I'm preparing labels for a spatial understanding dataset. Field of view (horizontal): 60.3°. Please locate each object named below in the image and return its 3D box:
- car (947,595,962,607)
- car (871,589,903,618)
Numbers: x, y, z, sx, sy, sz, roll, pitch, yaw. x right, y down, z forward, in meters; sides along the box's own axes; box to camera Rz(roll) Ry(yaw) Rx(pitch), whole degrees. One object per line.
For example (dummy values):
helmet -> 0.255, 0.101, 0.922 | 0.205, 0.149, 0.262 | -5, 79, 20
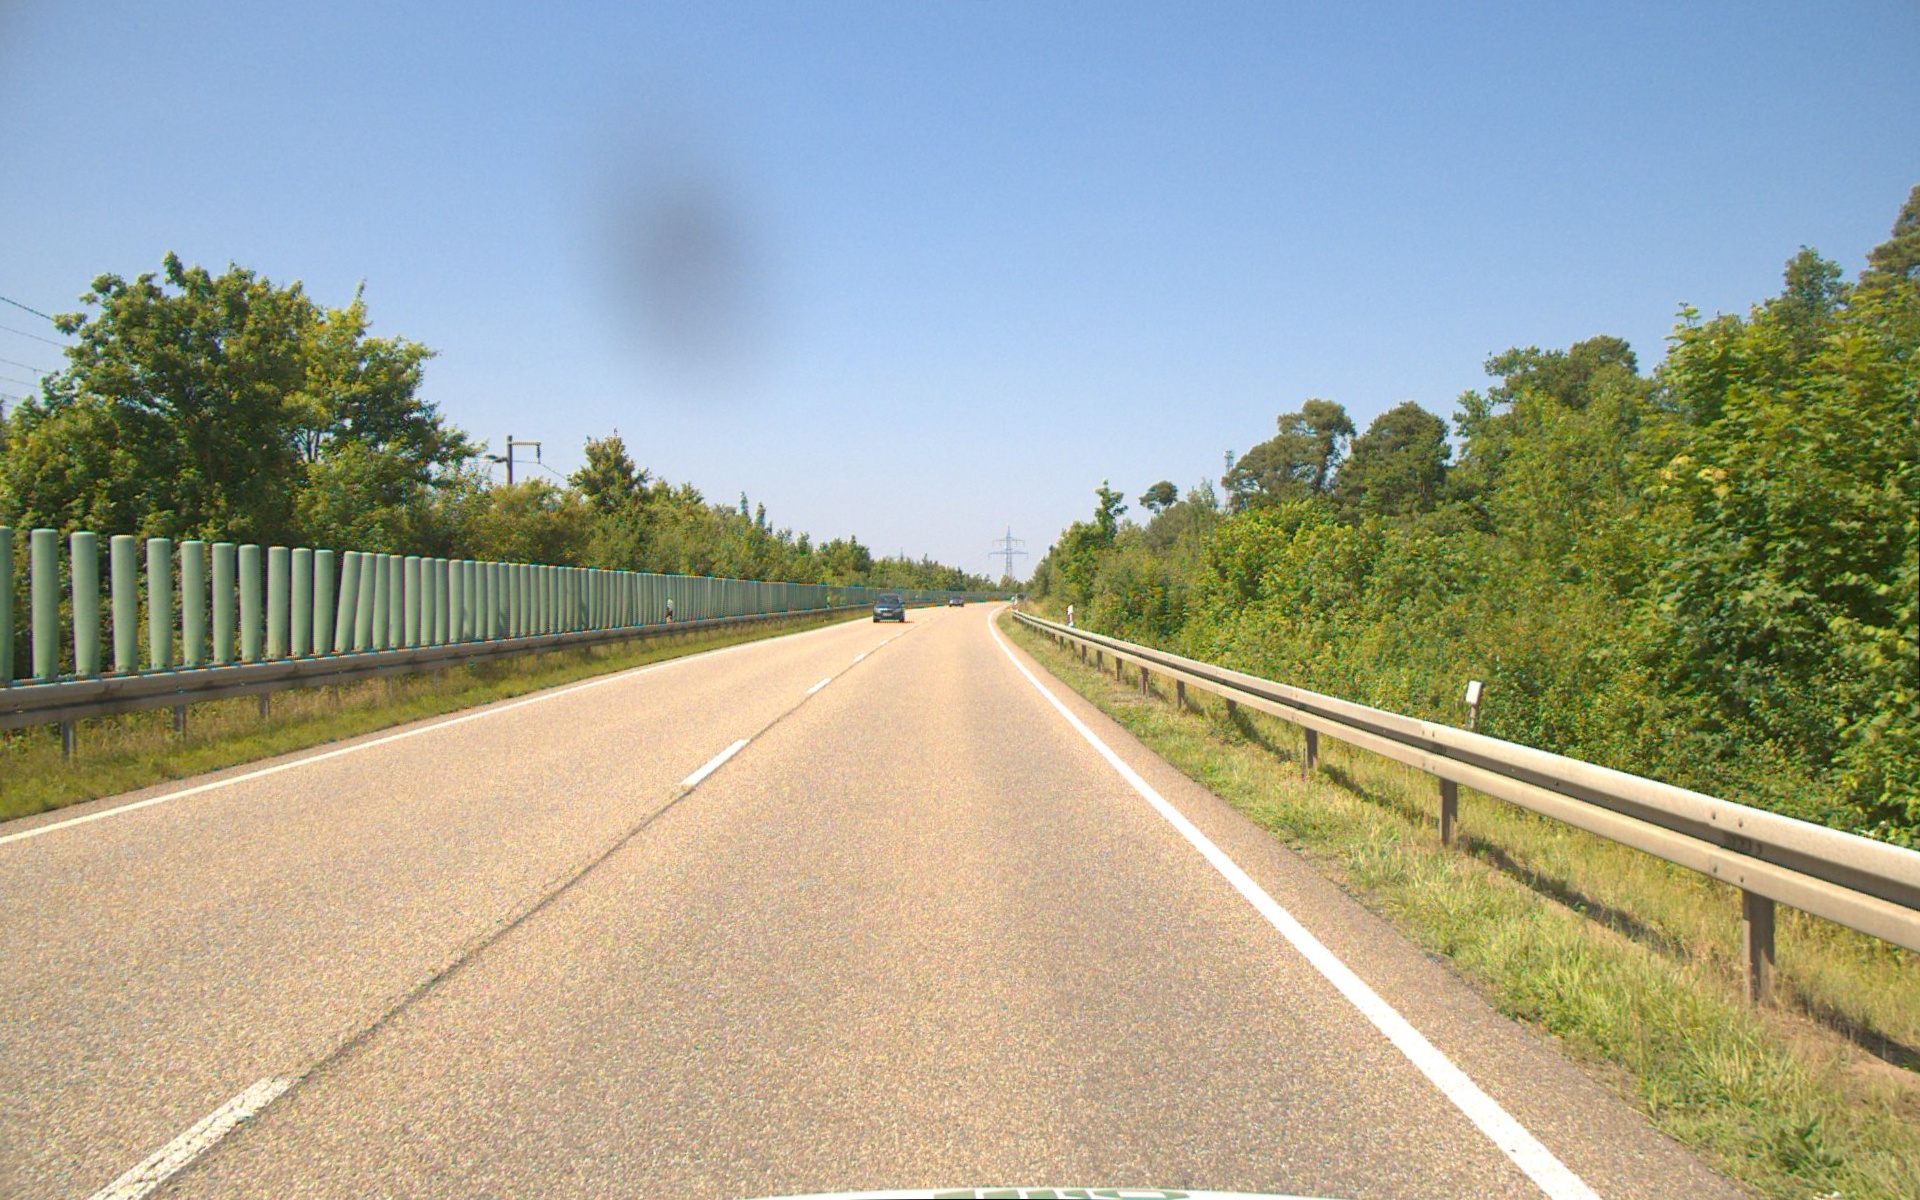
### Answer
car -> -0.631, 0.125, 204.205 | 1.750, 1.395, 3.898 | 1, 1, 1
car -> -3.947, 0.189, 90.010 | 1.615, 1.505, 3.676 | 0, 0, -1
